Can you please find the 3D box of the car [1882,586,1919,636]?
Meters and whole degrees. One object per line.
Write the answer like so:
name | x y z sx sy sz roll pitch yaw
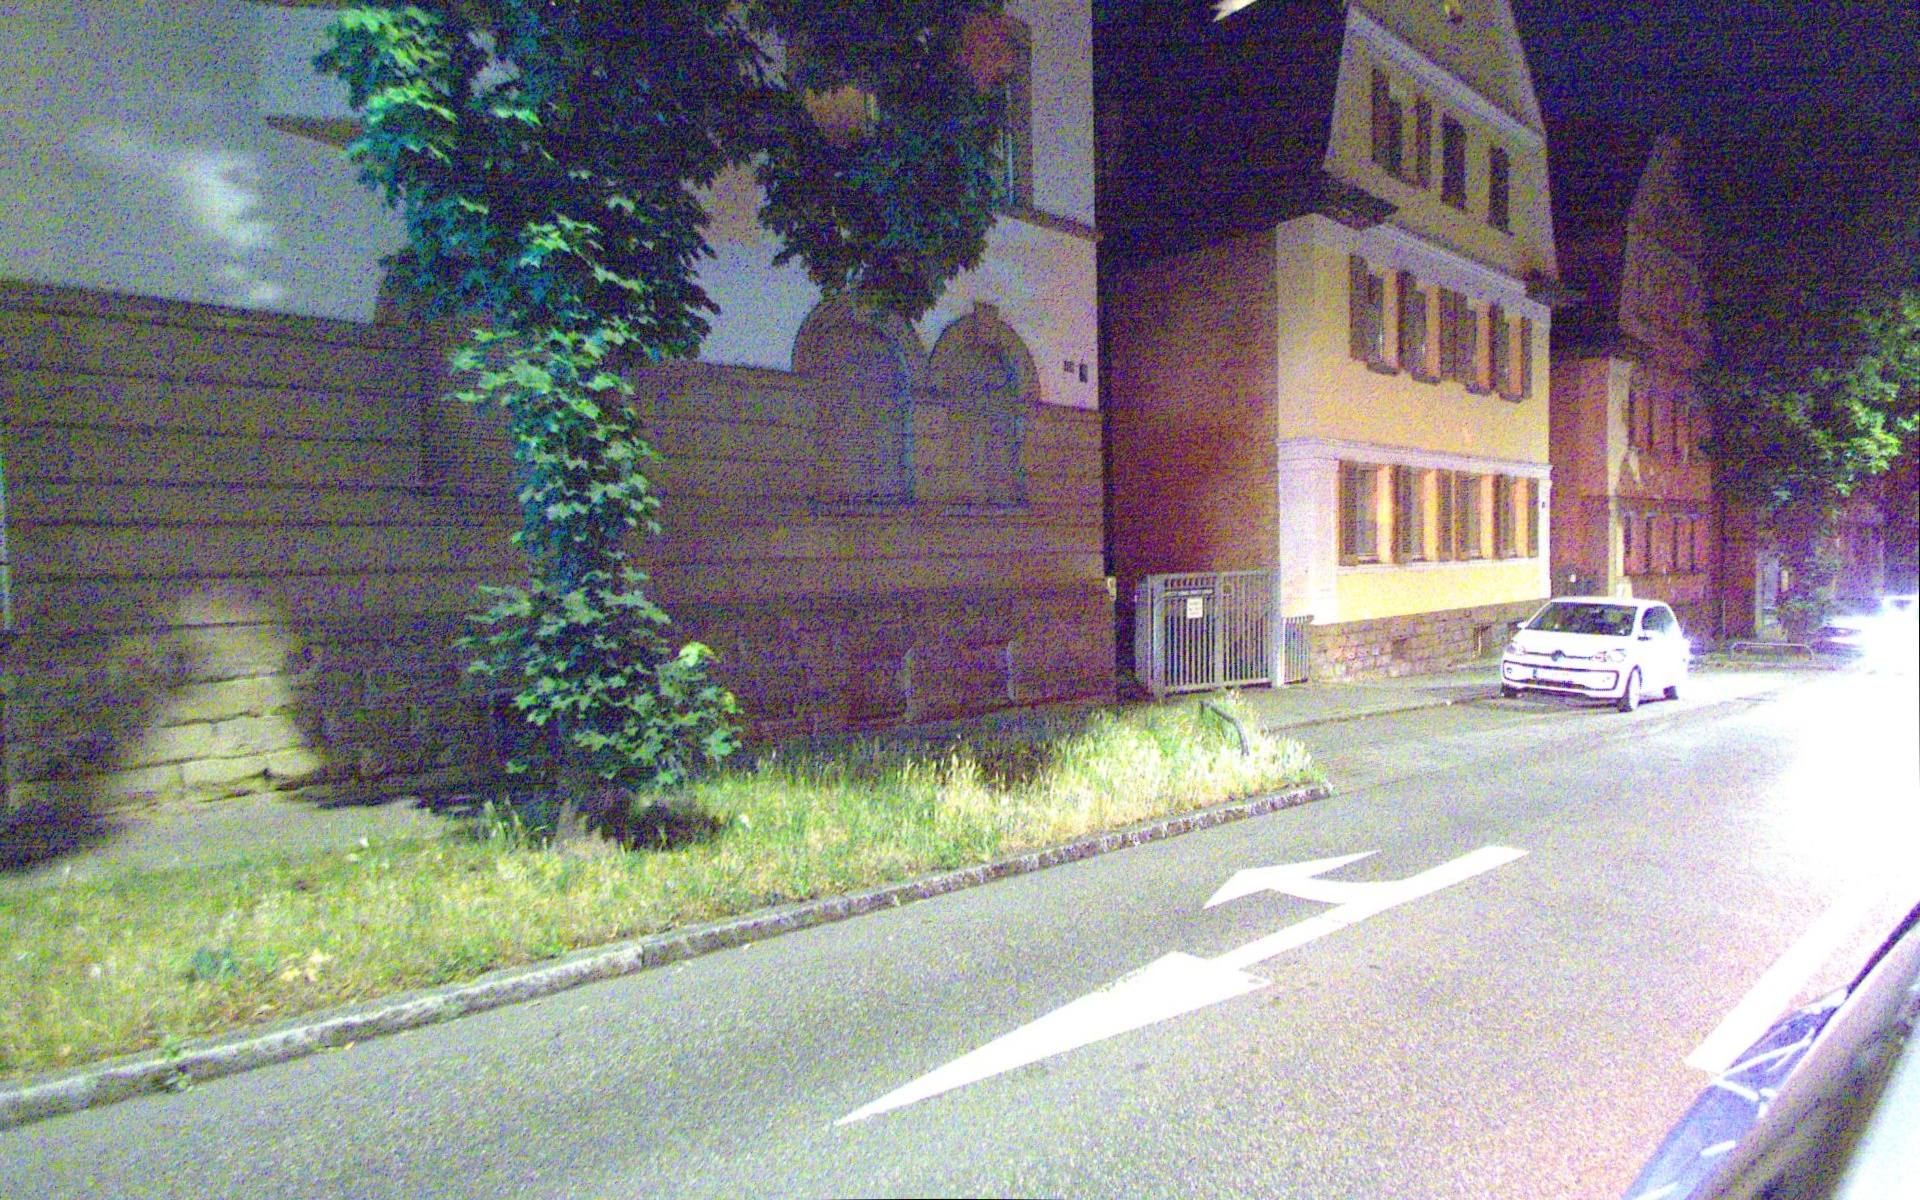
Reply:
car | 33.538 0.371 35.145 4.107 1.673 1.850 0 0 -42

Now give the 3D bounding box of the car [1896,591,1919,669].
car | 20.688 0.579 20.850 3.933 1.505 1.778 -1 0 -43

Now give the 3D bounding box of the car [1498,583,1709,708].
car | 9.300 0.566 14.537 3.425 1.527 1.610 0 2 -41

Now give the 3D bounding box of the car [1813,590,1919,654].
car | 23.615 0.510 26.287 3.824 1.516 1.740 0 2 -43
